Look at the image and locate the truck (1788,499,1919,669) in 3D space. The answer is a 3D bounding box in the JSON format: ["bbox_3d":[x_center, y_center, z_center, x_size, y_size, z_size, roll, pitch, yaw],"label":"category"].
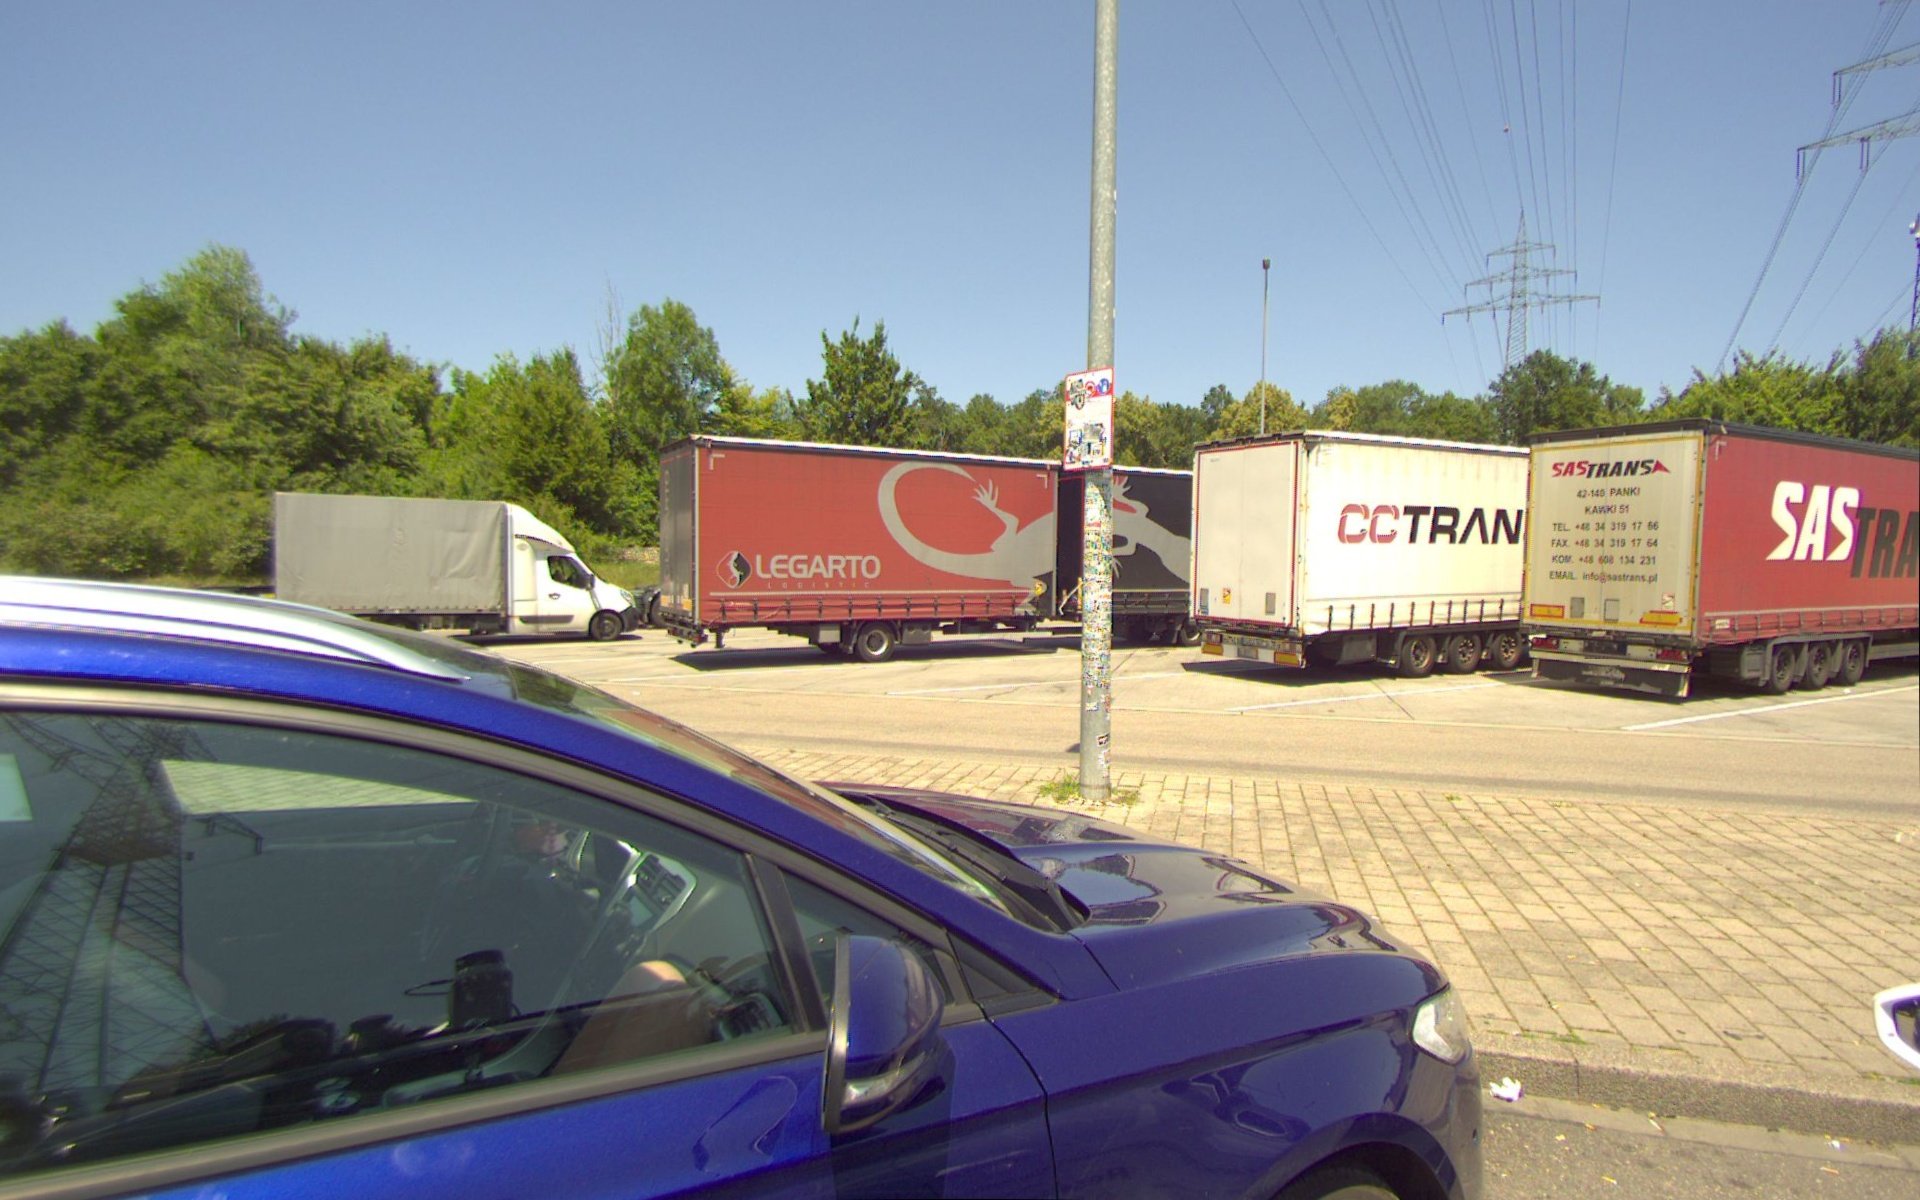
[{"bbox_3d":[21.236,-0.399,22.018,5.829,3.373,2.837,-1,3,-30],"label":"truck"}]

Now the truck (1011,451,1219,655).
[{"bbox_3d":[3.596,-1.072,23.462,3.947,4.298,2.723,-1,3,-30],"label":"truck"}]

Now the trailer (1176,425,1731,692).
[{"bbox_3d":[10.614,-0.806,20.350,13.962,4.141,2.782,-1,3,-30],"label":"trailer"}]

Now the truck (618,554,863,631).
[{"bbox_3d":[-6.322,-0.236,29.285,6.733,2.041,1.987,-1,1,-26],"label":"truck"}]

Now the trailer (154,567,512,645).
[{"bbox_3d":[-15.138,0.050,24.903,7.204,1.711,2.249,-1,3,-29],"label":"trailer"}]

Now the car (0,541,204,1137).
[{"bbox_3d":[-4.582,0.596,2.237,4.444,1.520,1.762,0,2,-32],"label":"car"}]

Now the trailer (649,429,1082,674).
[{"bbox_3d":[-1.716,-0.906,20.340,8.376,4.141,2.722,-1,3,-30],"label":"trailer"}]

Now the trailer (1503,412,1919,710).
[{"bbox_3d":[15.634,-0.698,18.740,13.962,4.141,2.777,-1,3,-30],"label":"trailer"}]

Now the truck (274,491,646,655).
[{"bbox_3d":[-11.163,-0.630,23.034,7.204,3.279,2.727,-1,3,-29],"label":"truck"}]

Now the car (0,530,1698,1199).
[{"bbox_3d":[-1.006,0.674,1.505,4.444,1.511,1.859,0,2,-32],"label":"car"}]
